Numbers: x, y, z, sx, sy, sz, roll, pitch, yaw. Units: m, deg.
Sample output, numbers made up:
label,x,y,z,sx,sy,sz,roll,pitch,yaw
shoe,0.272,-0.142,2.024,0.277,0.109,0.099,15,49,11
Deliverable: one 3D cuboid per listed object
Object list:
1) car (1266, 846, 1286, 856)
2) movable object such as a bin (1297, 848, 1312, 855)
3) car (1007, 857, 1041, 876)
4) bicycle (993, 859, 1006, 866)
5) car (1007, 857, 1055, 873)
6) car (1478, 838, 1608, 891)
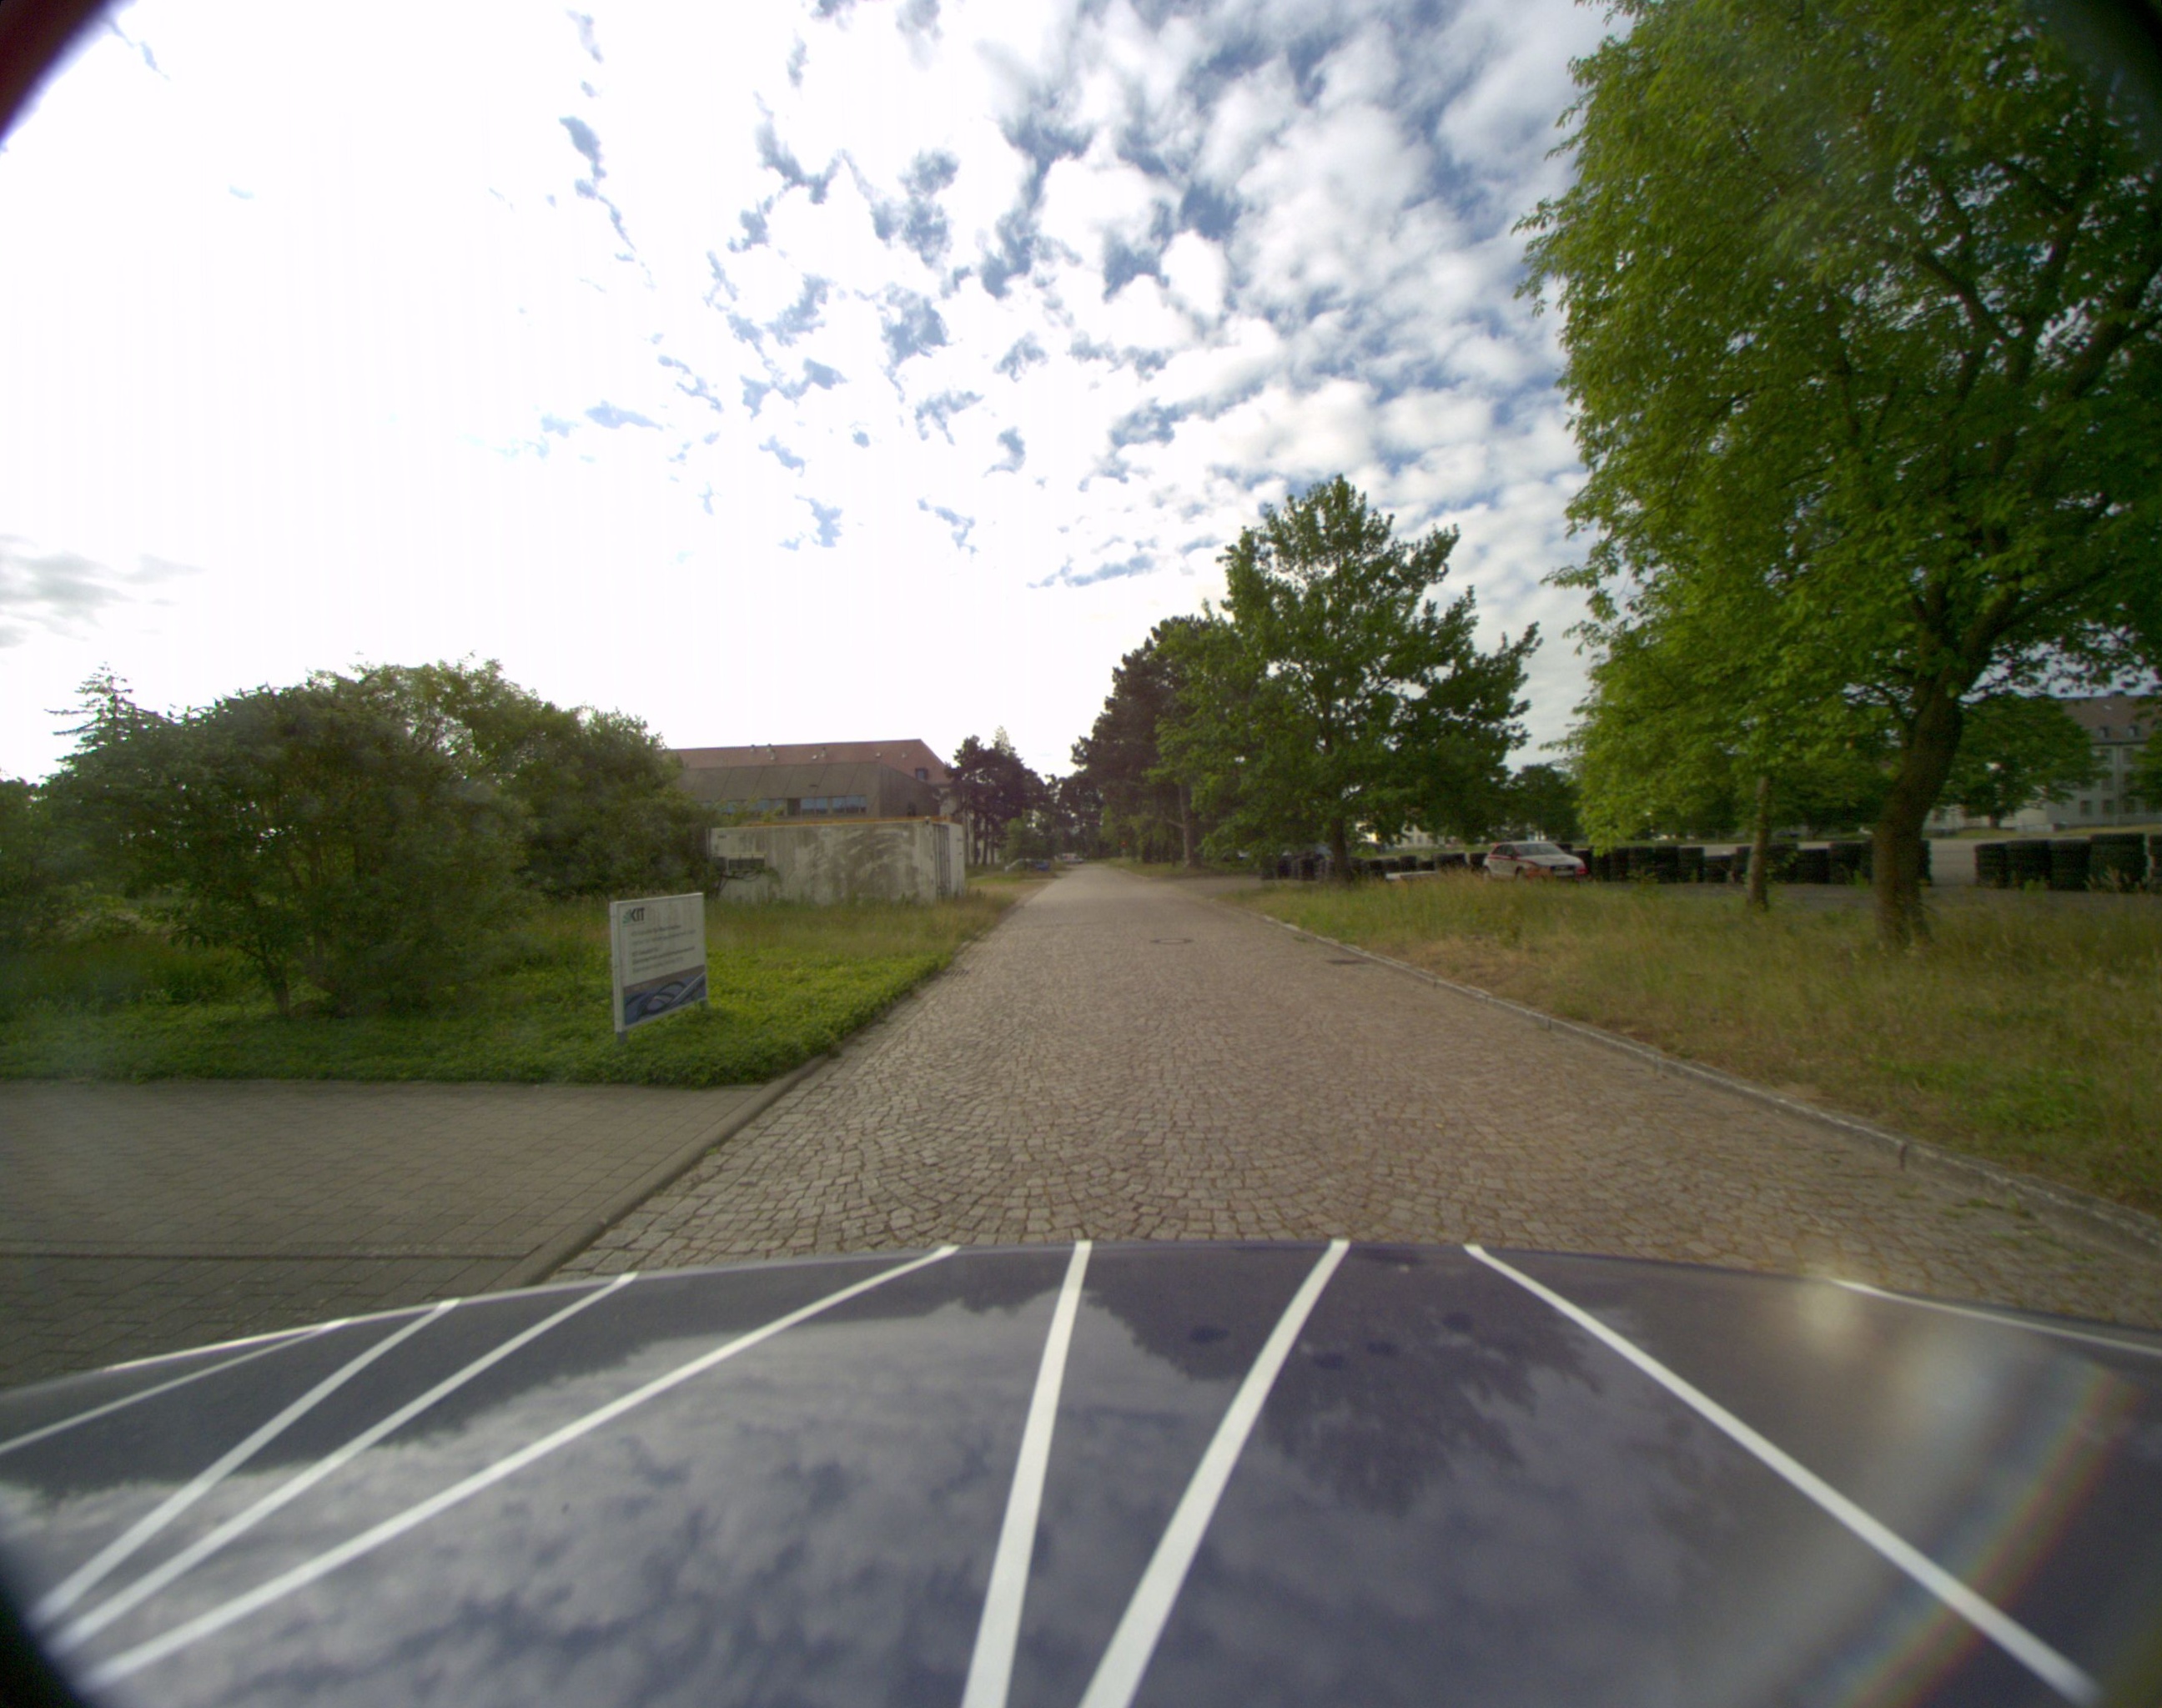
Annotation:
label,x,y,z,sx,sy,sz,roll,pitch,yaw
car,32.148,-0.466,125.394,1.999,1.441,4.452,-2,0,-3
movable object such as a bin,33.050,-0.368,112.581,1.057,1.064,2.719,-2,0,-8
car,-4.887,1.053,65.494,2.748,1.573,1.683,0,0,1
bicycle,-14.042,1.431,131.053,2.164,1.088,0.717,-2,1,-3
car,-4.787,1.058,72.782,4.537,1.441,1.931,0,0,-2
car,14.167,0.288,23.603,1.827,1.423,4.220,-2,0,6
